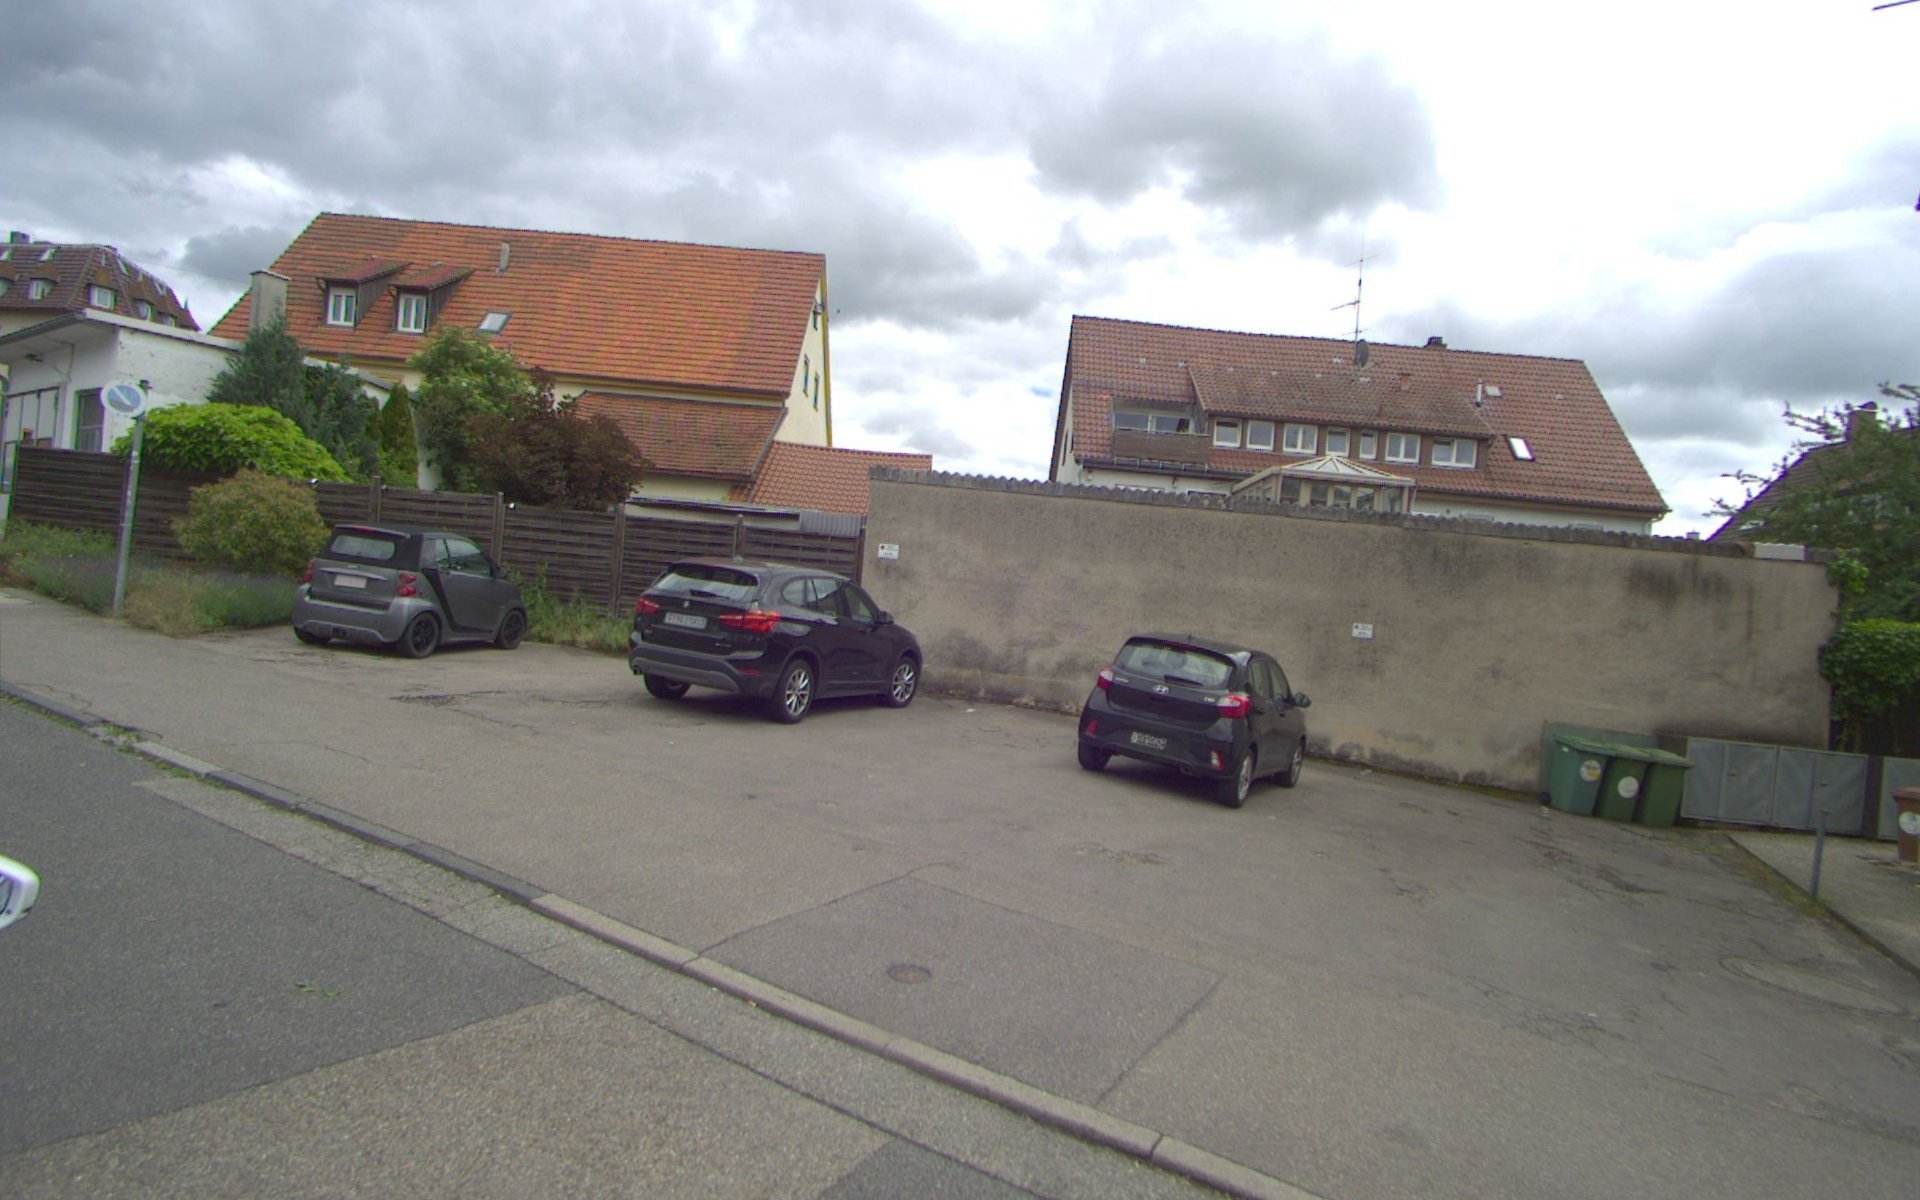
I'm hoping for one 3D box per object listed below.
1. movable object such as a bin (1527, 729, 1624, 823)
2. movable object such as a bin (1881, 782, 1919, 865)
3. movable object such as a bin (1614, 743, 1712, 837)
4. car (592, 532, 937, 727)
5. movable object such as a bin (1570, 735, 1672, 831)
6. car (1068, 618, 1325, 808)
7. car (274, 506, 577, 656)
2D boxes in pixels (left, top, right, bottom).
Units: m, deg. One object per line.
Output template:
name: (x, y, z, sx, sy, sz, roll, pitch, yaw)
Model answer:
movable object such as a bin: (8.928, 2.537, 14.623, 0.632, 1.117, 0.937, 12, 0, 1)
movable object such as a bin: (12.244, 2.839, 12.748, 0.569, 0.952, 0.655, 2, -2, 11)
movable object such as a bin: (10.191, 2.736, 14.622, 0.570, 1.117, 0.937, 12, 0, 1)
car: (-2.015, 0.332, 11.716, 1.869, 1.675, 4.123, 7, 1, 22)
movable object such as a bin: (9.577, 2.638, 14.610, 0.666, 1.117, 0.937, 12, 0, 1)
car: (2.681, 1.190, 10.828, 1.696, 1.504, 3.322, 7, -2, 29)
car: (-6.787, -0.201, 13.178, 1.671, 1.538, 3.324, 7, 1, 11)
